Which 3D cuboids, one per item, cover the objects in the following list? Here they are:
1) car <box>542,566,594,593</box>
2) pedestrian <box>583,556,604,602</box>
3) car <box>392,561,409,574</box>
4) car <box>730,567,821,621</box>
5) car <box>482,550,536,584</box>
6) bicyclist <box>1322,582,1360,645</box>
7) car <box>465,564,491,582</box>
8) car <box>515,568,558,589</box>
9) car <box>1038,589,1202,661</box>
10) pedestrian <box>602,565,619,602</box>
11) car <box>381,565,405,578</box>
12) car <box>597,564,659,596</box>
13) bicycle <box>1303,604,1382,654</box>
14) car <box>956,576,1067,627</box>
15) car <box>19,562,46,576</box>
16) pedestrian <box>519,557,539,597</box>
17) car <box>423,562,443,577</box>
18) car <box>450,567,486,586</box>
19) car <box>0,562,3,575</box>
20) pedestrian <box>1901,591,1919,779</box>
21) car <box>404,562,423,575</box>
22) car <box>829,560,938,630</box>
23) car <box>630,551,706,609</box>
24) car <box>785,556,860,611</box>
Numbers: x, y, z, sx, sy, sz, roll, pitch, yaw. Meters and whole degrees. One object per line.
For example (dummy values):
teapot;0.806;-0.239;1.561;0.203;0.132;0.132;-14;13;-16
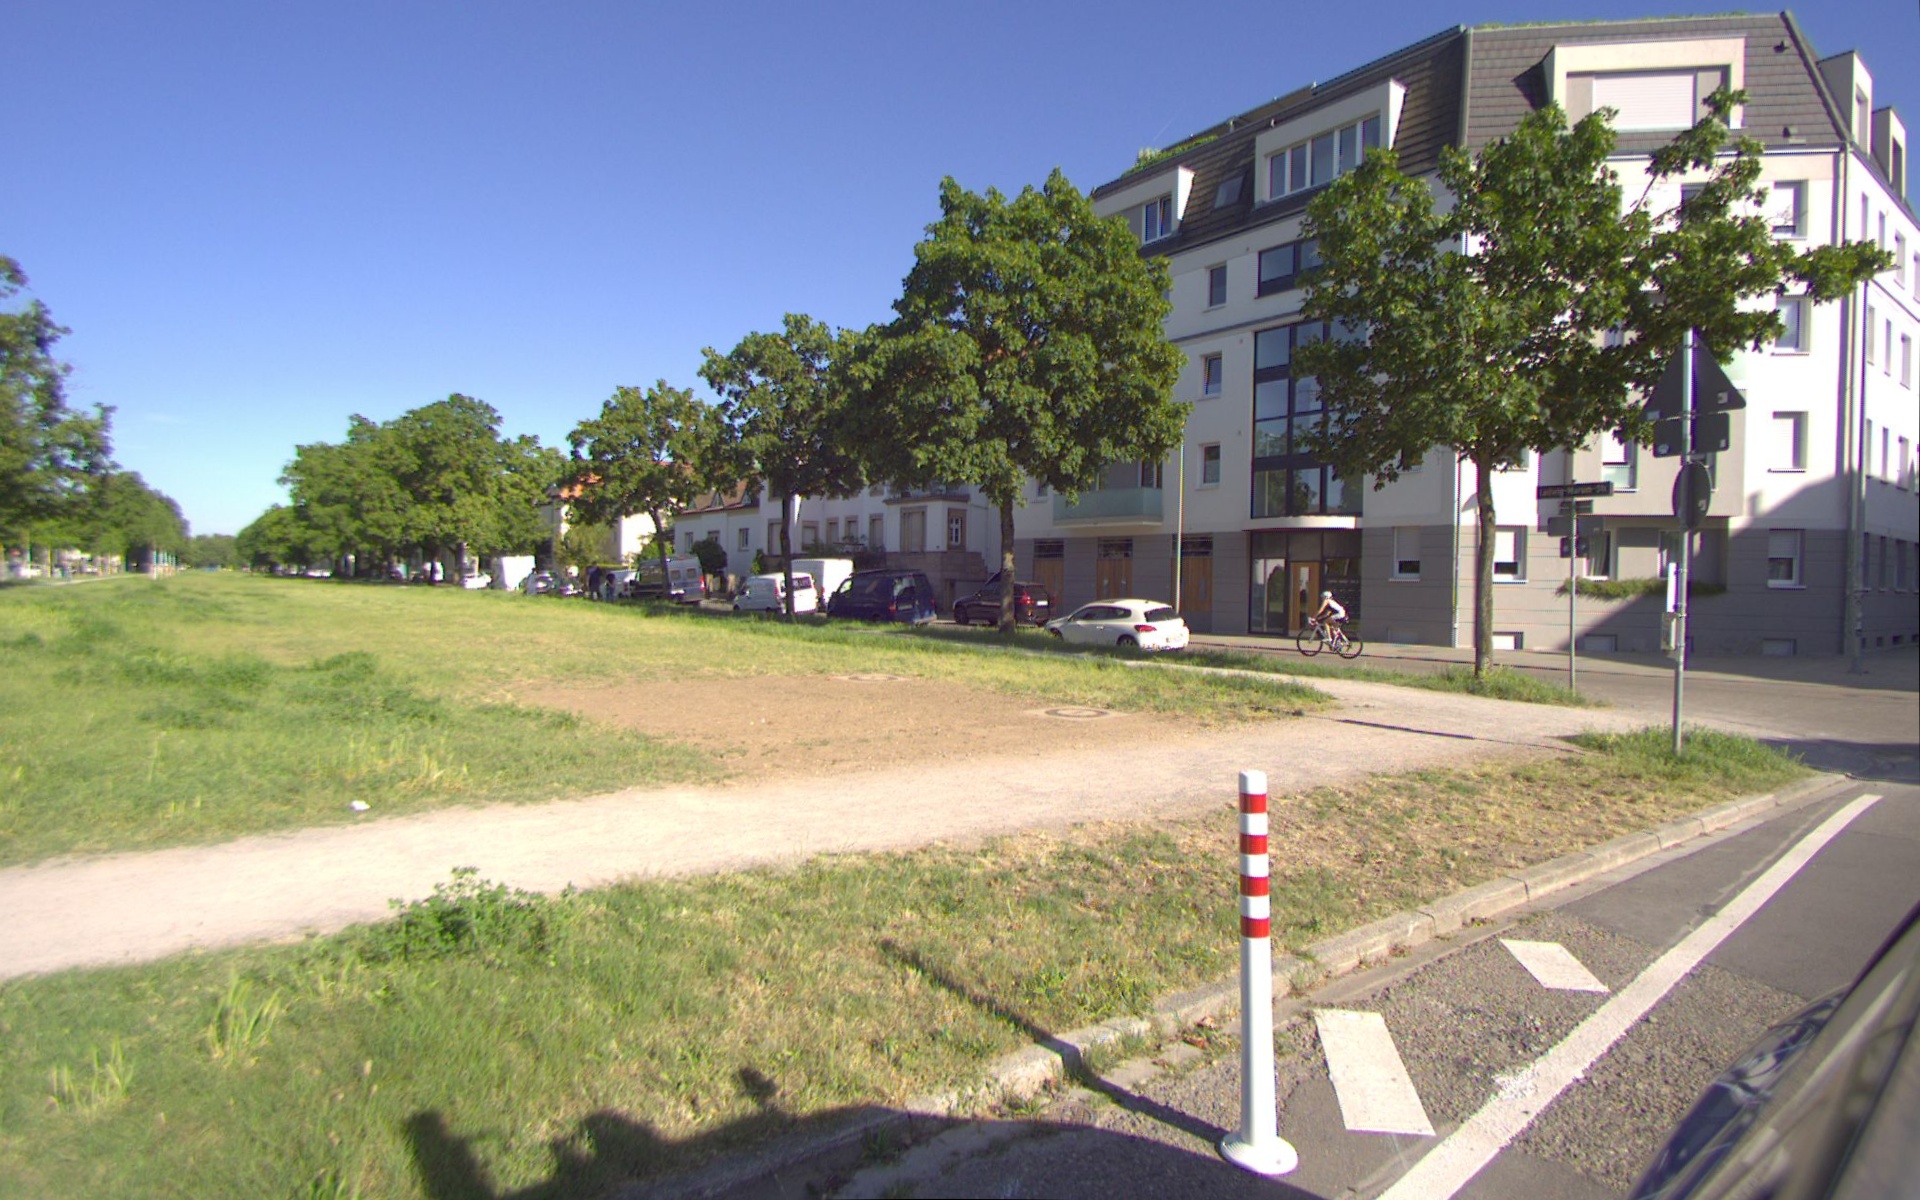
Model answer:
car;-24.886;-1.334;64.198;2.046;1.618;4.288;0;1;-36
pedestrian;-15.271;-0.865;42.120;0.632;1.900;0.629;1;1;-38
car;-87.664;-5.111;158.471;1.831;1.868;3.994;1;1;-36
car;-7.425;-0.287;40.394;1.841;1.906;4.425;-4;4;-34
car;-33.636;-2.444;75.440;2.503;2.363;5.920;1;1;-36
bicyclist;9.127;0.306;24.253;0.685;1.482;0.490;2;1;42
car;-51.306;-2.875;107.669;1.831;1.868;3.994;0;2;-36
car;-29.474;-1.489;70.400;1.898;1.361;4.110;1;2;-36
car;3.920;0.552;25.362;1.709;1.450;3.993;-5;5;-37
pedestrian;-14.604;-0.684;42.299;0.487;1.524;0.535;1;1;-37
car;-69.629;-3.485;124.257;2.042;1.484;4.728;1;1;-36
car;-18.197;-1.100;55.391;2.046;1.618;4.288;0;1;-36
bicycle;9.147;0.683;24.233;1.703;1.102;0.499;2;1;43
car;1.863;-0.006;37.709;1.861;1.703;4.289;-1;2;-36
car;-96.934;-3.220;105.771;1.689;1.358;3.808;0;1;-37
pedestrian;-20.370;-1.081;47.825;0.711;1.900;0.629;1;1;-38
car;-70.810;-4.098;135.893;1.831;1.868;3.994;1;1;-36
car;-42.759;-2.059;87.927;2.042;1.484;4.728;0;2;-36
car;-101.222;-3.267;105.521;1.689;1.358;3.808;0;1;-37
pedestrian;9.322;0.757;9.141;1.084;1.695;0.901;-1;-1;37
car;-79.016;-4.581;146.261;1.831;1.868;3.994;1;1;-36
car;-2.599;-0.250;33.701;1.752;2.108;3.994;-5;4;-36
car;-14.403;-1.028;49.731;2.153;2.615;4.288;-5;4;-36
car;-6.745;-0.846;49.375;1.985;2.580;3.994;-1;2;-36
